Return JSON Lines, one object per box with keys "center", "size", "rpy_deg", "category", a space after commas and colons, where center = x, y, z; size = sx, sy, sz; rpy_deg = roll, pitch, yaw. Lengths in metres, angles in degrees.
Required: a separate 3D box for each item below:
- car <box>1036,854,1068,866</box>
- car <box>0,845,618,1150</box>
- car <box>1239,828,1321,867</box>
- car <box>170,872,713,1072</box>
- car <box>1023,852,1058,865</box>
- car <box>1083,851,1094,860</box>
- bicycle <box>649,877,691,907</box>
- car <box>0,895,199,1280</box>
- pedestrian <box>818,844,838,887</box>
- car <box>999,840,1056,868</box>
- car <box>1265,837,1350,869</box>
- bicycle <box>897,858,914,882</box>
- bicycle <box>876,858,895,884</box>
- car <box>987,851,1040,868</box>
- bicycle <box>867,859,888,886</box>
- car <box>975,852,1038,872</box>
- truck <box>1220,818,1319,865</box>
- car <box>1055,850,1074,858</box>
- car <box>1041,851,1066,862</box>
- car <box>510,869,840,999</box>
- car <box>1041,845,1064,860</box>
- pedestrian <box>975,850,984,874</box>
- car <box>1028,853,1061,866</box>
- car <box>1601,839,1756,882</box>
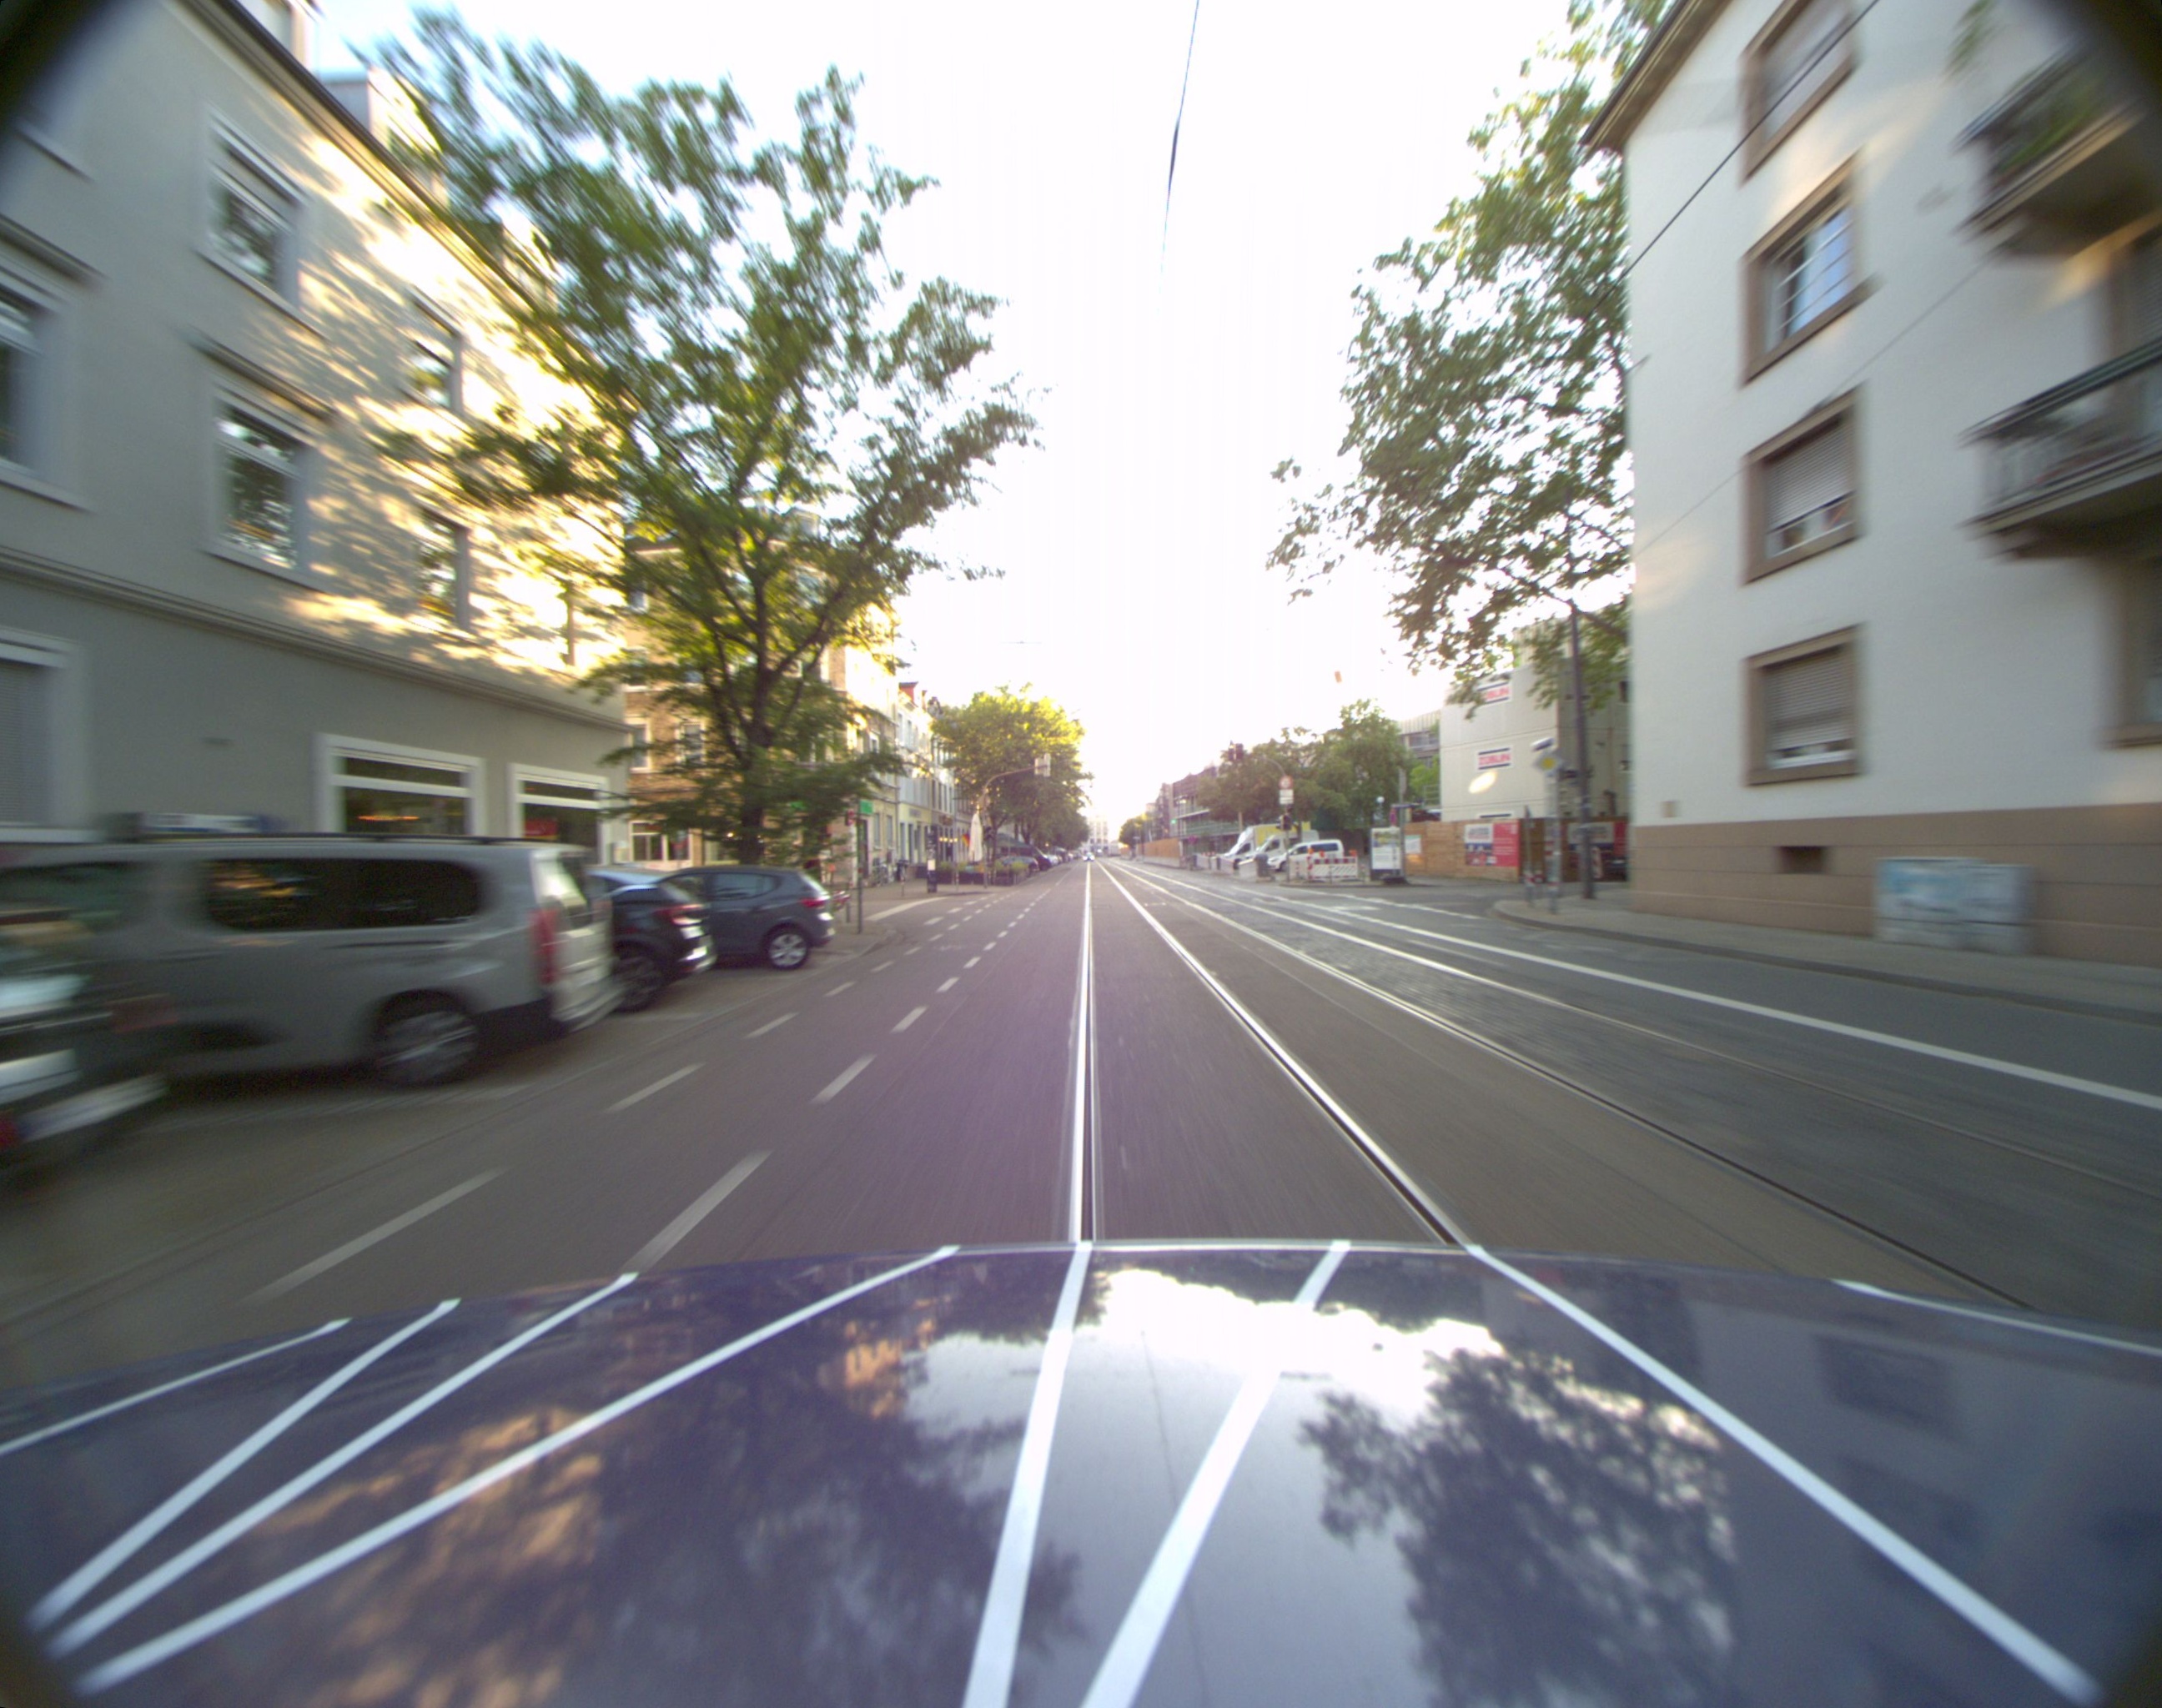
{"center": [-3.930, 0.797, 102.868], "size": [3.997, 1.566, 1.720], "rpy_deg": [0, 0, -14], "category": "car"}
{"center": [-5.942, 0.853, 5.635], "size": [4.004, 1.805, 1.821], "rpy_deg": [0, 0, -20], "category": "car"}
{"center": [14.267, -0.454, 54.626], "size": [5.233, 2.582, 2.229], "rpy_deg": [-2, 0, -3], "category": "car"}
{"center": [-6.230, 1.056, 8.043], "size": [4.004, 1.557, 1.717], "rpy_deg": [-2, 1, -21], "category": "car"}
{"center": [-4.917, 0.570, 91.868], "size": [3.996, 1.566, 1.720], "rpy_deg": [0, 0, -11], "category": "car"}
{"center": [1.444, 0.337, 147.682], "size": [1.998, 1.674, 4.000], "rpy_deg": [-2, 0, 1], "category": "car"}
{"center": [-15.397, 1.414, 28.528], "size": [0.509, 1.093, 1.888], "rpy_deg": [-2, -1, 1], "category": "bicycle"}
{"center": [-6.498, 1.029, 2.716], "size": [4.004, 1.557, 1.717], "rpy_deg": [-1, 0, -21], "category": "car"}
{"center": [-10.828, 0.494, 32.524], "size": [0.558, 1.821, 0.613], "rpy_deg": [-1, -2, 38], "category": "pedestrian"}
{"center": [-5.199, -0.008, 73.777], "size": [5.236, 2.605, 1.925], "rpy_deg": [0, 1, -16], "category": "car"}
{"center": [14.528, -0.048, 48.965], "size": [4.844, 1.862, 2.015], "rpy_deg": [-2, 0, 2], "category": "car"}
{"center": [-9.511, 0.859, 41.188], "size": [0.471, 1.203, 1.783], "rpy_deg": [-2, 0, 1], "category": "bicycle"}
{"center": [-9.509, 0.817, 36.988], "size": [0.471, 1.203, 1.586], "rpy_deg": [-2, 0, 1], "category": "bicycle"}
{"center": [-5.666, 0.469, 63.708], "size": [4.121, 1.444, 1.808], "rpy_deg": [0, -1, -15], "category": "car"}
{"center": [-9.364, 0.830, 35.002], "size": [0.525, 1.203, 1.586], "rpy_deg": [-2, 0, 1], "category": "bicycle"}
{"center": [-5.934, 0.647, 60.655], "size": [4.643, 1.508, 1.807], "rpy_deg": [0, -1, -26], "category": "car"}
{"center": [14.959, -0.961, 60.608], "size": [7.077, 3.408, 2.565], "rpy_deg": [-2, 0, -3], "category": "truck"}
{"center": [-3.632, 0.075, 163.052], "size": [3.991, 1.681, 1.722], "rpy_deg": [0, 0, 1], "category": "car"}
{"center": [-4.613, 0.384, 128.187], "size": [3.997, 1.759, 1.720], "rpy_deg": [0, 0, -14], "category": "car"}
{"center": [-5.702, 1.060, 11.249], "size": [4.003, 1.531, 1.776], "rpy_deg": [-2, 1, -18], "category": "car"}
{"center": [-4.979, -0.247, 134.373], "size": [3.991, 2.551, 1.722], "rpy_deg": [0, 0, 1], "category": "car"}
{"center": [-7.473, 0.558, 55.777], "size": [0.498, 1.742, 0.646], "rpy_deg": [0, 1, 5], "category": "pedestrian"}
{"center": [-4.616, 0.719, 95.664], "size": [3.997, 1.566, 1.720], "rpy_deg": [0, 0, -14], "category": "car"}
{"center": [21.334, 0.262, 27.250], "size": [4.089, 1.352, 1.760], "rpy_deg": [-2, -2, 2], "category": "car"}
